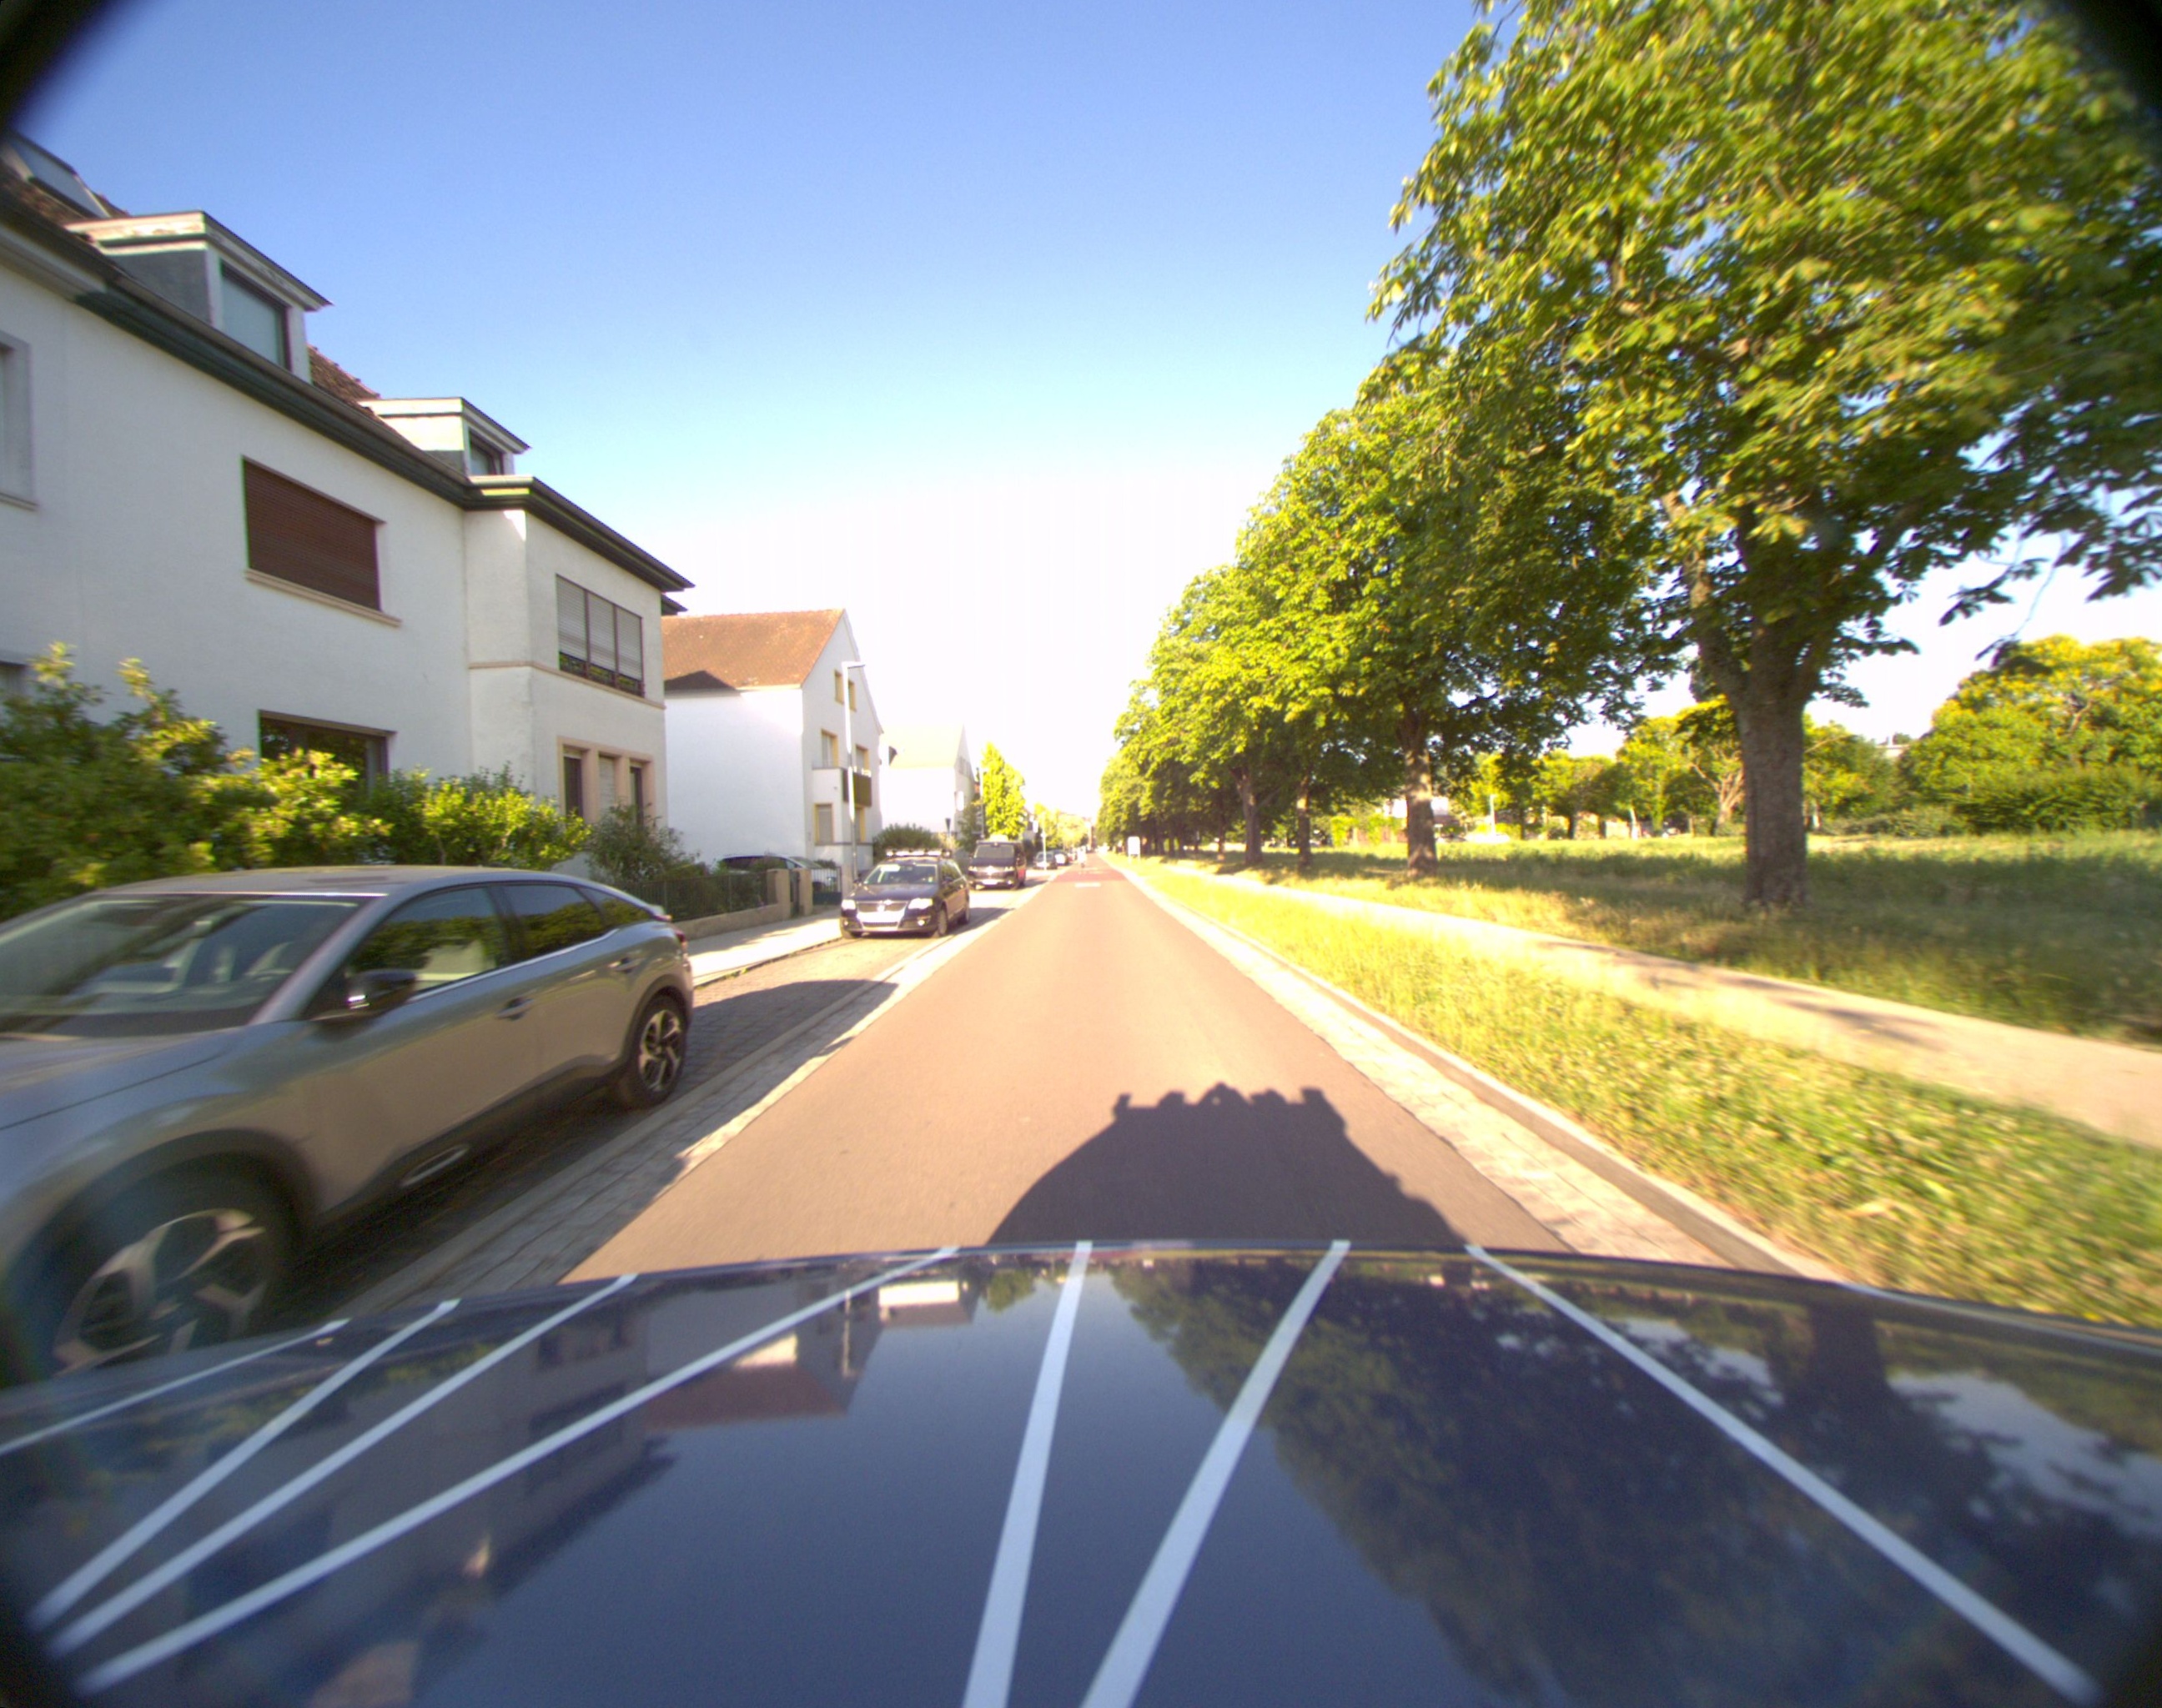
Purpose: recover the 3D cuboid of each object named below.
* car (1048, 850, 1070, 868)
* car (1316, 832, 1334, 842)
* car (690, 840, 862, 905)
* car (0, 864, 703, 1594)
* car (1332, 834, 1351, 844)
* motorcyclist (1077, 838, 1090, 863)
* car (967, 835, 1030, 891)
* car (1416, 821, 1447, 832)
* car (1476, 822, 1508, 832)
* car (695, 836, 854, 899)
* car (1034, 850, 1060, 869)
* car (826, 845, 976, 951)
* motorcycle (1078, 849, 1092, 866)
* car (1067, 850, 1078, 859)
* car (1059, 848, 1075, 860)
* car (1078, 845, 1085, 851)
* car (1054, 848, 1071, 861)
[{"bbox_3d":[-2.176,0.461,76.245,1.910,1.698,4.575,0,0,3],"label":"car"},{"bbox_3d":[37.901,-2.696,118.123,1.585,1.473,3.639,-3,1,2],"label":"car"},{"bbox_3d":[-8.815,0.496,22.245,4.228,1.716,1.852,-1,1,-2],"label":"car"},{"bbox_3d":[-3.428,0.901,3.170,1.722,1.565,4.208,0,1,-2],"label":"car"},{"bbox_3d":[44.242,-2.542,129.133,1.766,1.619,3.999,-3,1,1],"label":"car"},{"bbox_3d":[0.192,-0.309,64.904,0.961,2.002,1.273,-3,2,0],"label":"motorcyclist"},{"bbox_3d":[-3.332,0.318,31.454,1.910,2.119,4.814,0,1,2],"label":"car"},{"bbox_3d":[49.702,-3.871,107.784,3.636,1.273,1.586,-3,2,2],"label":"car"},{"bbox_3d":[58.607,-3.801,108.319,3.636,1.273,1.586,-3,2,2],"label":"car"},{"bbox_3d":[-9.641,0.386,24.177,4.228,1.716,1.852,-3,2,-2],"label":"car"},{"bbox_3d":[-2.694,0.408,61.351,1.798,1.474,4.124,1,0,2],"label":"car"},{"bbox_3d":[-3.288,0.702,14.815,1.798,1.761,4.472,0,1,1],"label":"car"},{"bbox_3d":[0.321,0.300,64.864,1.077,1.373,2.463,-3,1,0],"label":"motorcycle"},{"bbox_3d":[-1.413,0.044,128.783,1.745,1.471,4.056,-2,1,0],"label":"car"},{"bbox_3d":[-2.003,0.039,109.275,1.910,1.698,4.575,0,0,3],"label":"car"},{"bbox_3d":[0.226,-1.727,214.125,1.844,1.471,3.763,-2,1,0],"label":"car"},{"bbox_3d":[-2.163,0.017,88.631,1.798,1.486,4.193,0,1,1],"label":"car"}]
